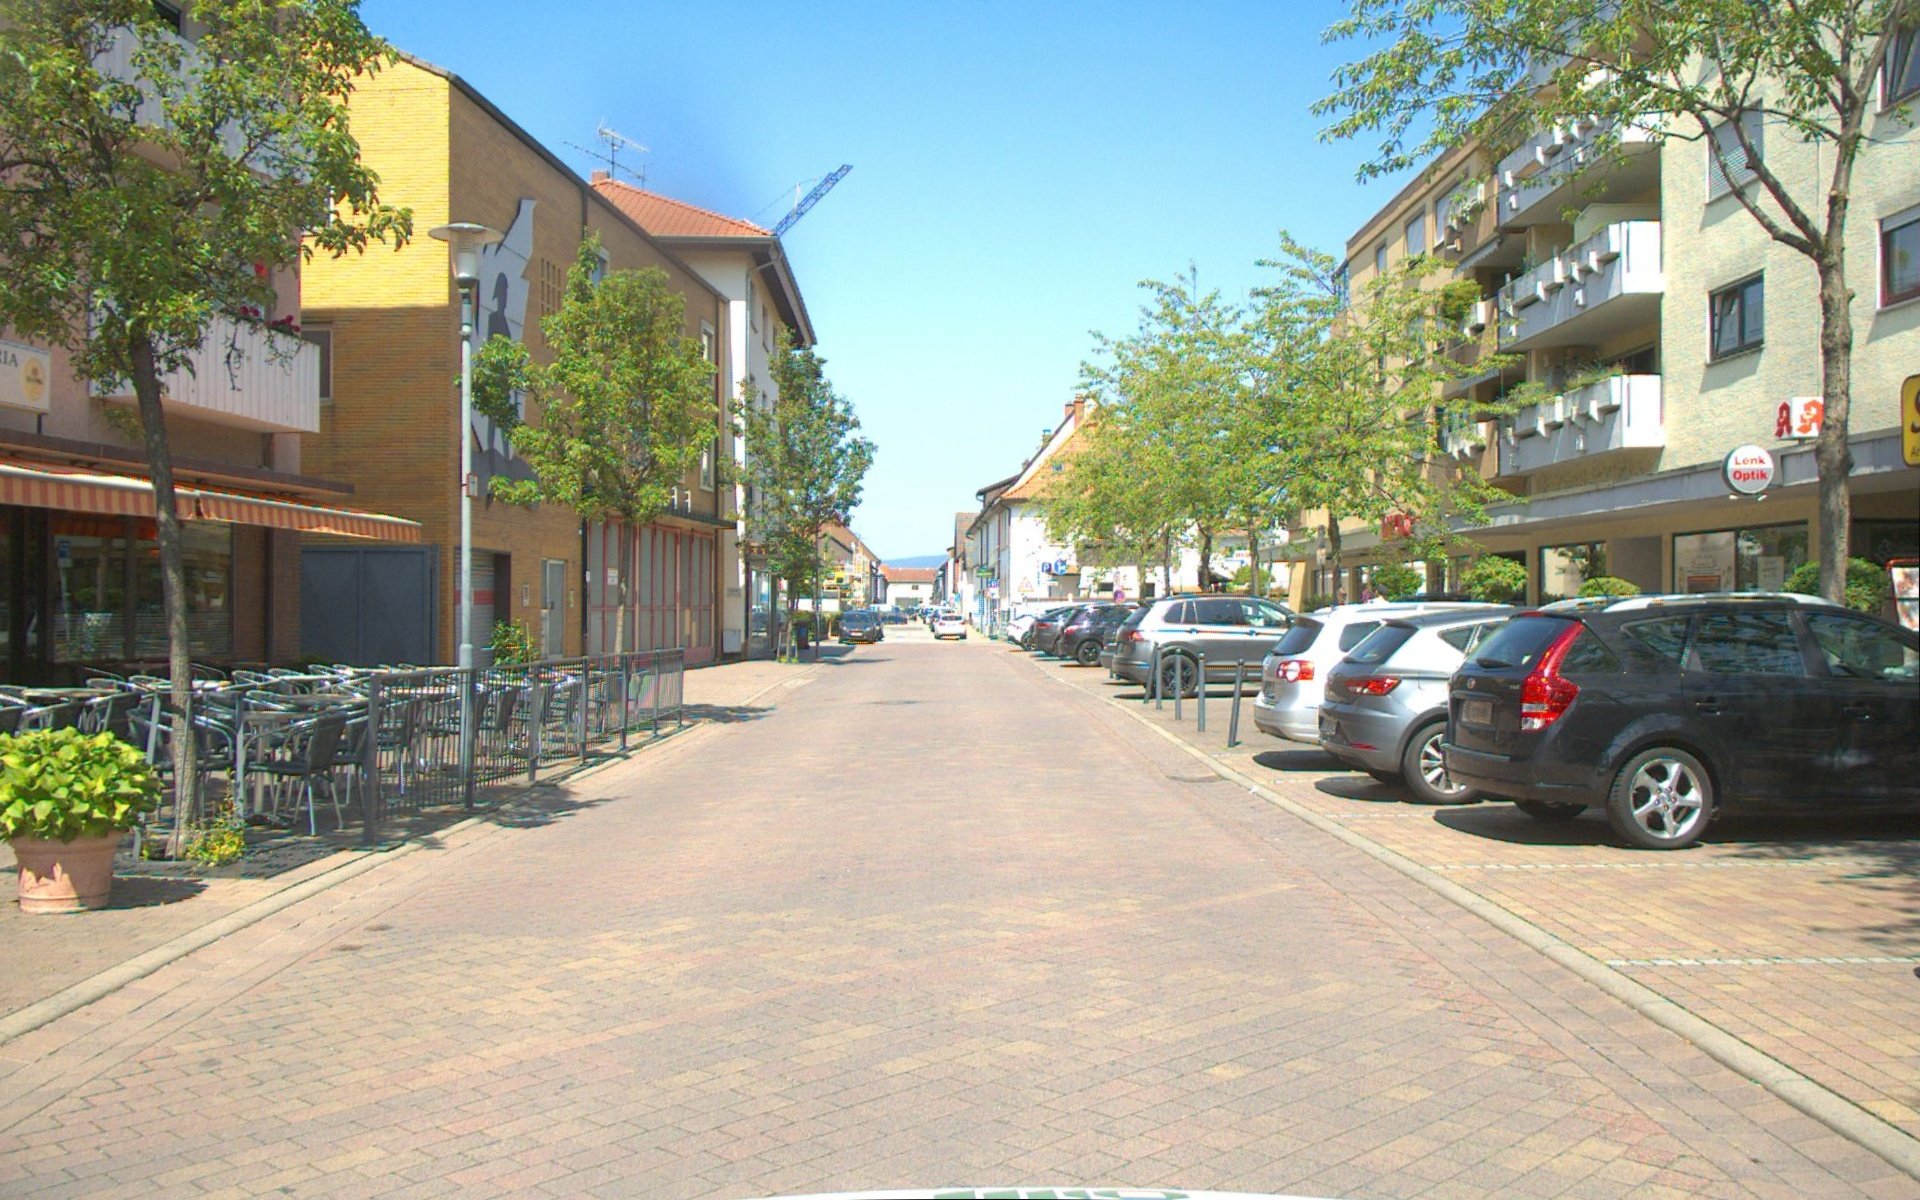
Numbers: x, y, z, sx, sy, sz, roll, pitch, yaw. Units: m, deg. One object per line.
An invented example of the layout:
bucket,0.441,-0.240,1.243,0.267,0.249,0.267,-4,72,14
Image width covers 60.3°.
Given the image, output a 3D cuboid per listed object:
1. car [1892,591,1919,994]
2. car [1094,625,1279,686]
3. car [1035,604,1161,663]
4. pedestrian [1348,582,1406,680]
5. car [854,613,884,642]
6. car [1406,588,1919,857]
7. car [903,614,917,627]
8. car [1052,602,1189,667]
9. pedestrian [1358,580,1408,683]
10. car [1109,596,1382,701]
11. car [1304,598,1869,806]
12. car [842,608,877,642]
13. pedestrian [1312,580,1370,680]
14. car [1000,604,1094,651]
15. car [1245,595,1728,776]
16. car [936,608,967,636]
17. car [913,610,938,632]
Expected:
car,5.540,0.699,5.701,3.648,1.561,1.765,-2,0,-1
car,4.479,1.081,32.854,3.453,1.162,1.272,0,-1,-5
car,3.975,0.958,47.950,3.451,1.653,1.710,0,-1,-2
pedestrian,7.855,0.571,31.181,0.821,1.818,0.805,0,0,-7
car,-4.994,1.493,91.169,1.477,1.527,3.826,0,1,-1
car,5.286,0.721,10.942,4.100,1.568,1.944,-1,0,-5
car,-6.351,2.604,211.535,1.711,1.507,3.629,0,1,0
car,4.258,0.909,44.153,3.451,1.684,1.710,0,-1,-2
pedestrian,7.537,0.546,29.527,0.819,1.818,0.807,0,0,11
car,4.600,0.766,26.962,4.158,1.644,1.557,0,0,-2
car,4.799,0.766,13.127,3.854,1.515,1.716,-1,0,4
car,-4.776,1.160,79.221,1.477,1.527,3.826,0,1,-1
pedestrian,7.040,0.536,30.569,0.821,1.818,0.805,0,0,-7
car,3.367,1.066,64.283,3.411,1.730,1.534,-1,-1,-6
car,4.897,0.770,15.795,4.067,1.601,1.759,0,0,0
car,-0.495,1.299,98.137,1.794,1.559,3.945,0,1,-1
car,-2.451,1.502,117.752,1.711,1.507,3.629,0,1,0
